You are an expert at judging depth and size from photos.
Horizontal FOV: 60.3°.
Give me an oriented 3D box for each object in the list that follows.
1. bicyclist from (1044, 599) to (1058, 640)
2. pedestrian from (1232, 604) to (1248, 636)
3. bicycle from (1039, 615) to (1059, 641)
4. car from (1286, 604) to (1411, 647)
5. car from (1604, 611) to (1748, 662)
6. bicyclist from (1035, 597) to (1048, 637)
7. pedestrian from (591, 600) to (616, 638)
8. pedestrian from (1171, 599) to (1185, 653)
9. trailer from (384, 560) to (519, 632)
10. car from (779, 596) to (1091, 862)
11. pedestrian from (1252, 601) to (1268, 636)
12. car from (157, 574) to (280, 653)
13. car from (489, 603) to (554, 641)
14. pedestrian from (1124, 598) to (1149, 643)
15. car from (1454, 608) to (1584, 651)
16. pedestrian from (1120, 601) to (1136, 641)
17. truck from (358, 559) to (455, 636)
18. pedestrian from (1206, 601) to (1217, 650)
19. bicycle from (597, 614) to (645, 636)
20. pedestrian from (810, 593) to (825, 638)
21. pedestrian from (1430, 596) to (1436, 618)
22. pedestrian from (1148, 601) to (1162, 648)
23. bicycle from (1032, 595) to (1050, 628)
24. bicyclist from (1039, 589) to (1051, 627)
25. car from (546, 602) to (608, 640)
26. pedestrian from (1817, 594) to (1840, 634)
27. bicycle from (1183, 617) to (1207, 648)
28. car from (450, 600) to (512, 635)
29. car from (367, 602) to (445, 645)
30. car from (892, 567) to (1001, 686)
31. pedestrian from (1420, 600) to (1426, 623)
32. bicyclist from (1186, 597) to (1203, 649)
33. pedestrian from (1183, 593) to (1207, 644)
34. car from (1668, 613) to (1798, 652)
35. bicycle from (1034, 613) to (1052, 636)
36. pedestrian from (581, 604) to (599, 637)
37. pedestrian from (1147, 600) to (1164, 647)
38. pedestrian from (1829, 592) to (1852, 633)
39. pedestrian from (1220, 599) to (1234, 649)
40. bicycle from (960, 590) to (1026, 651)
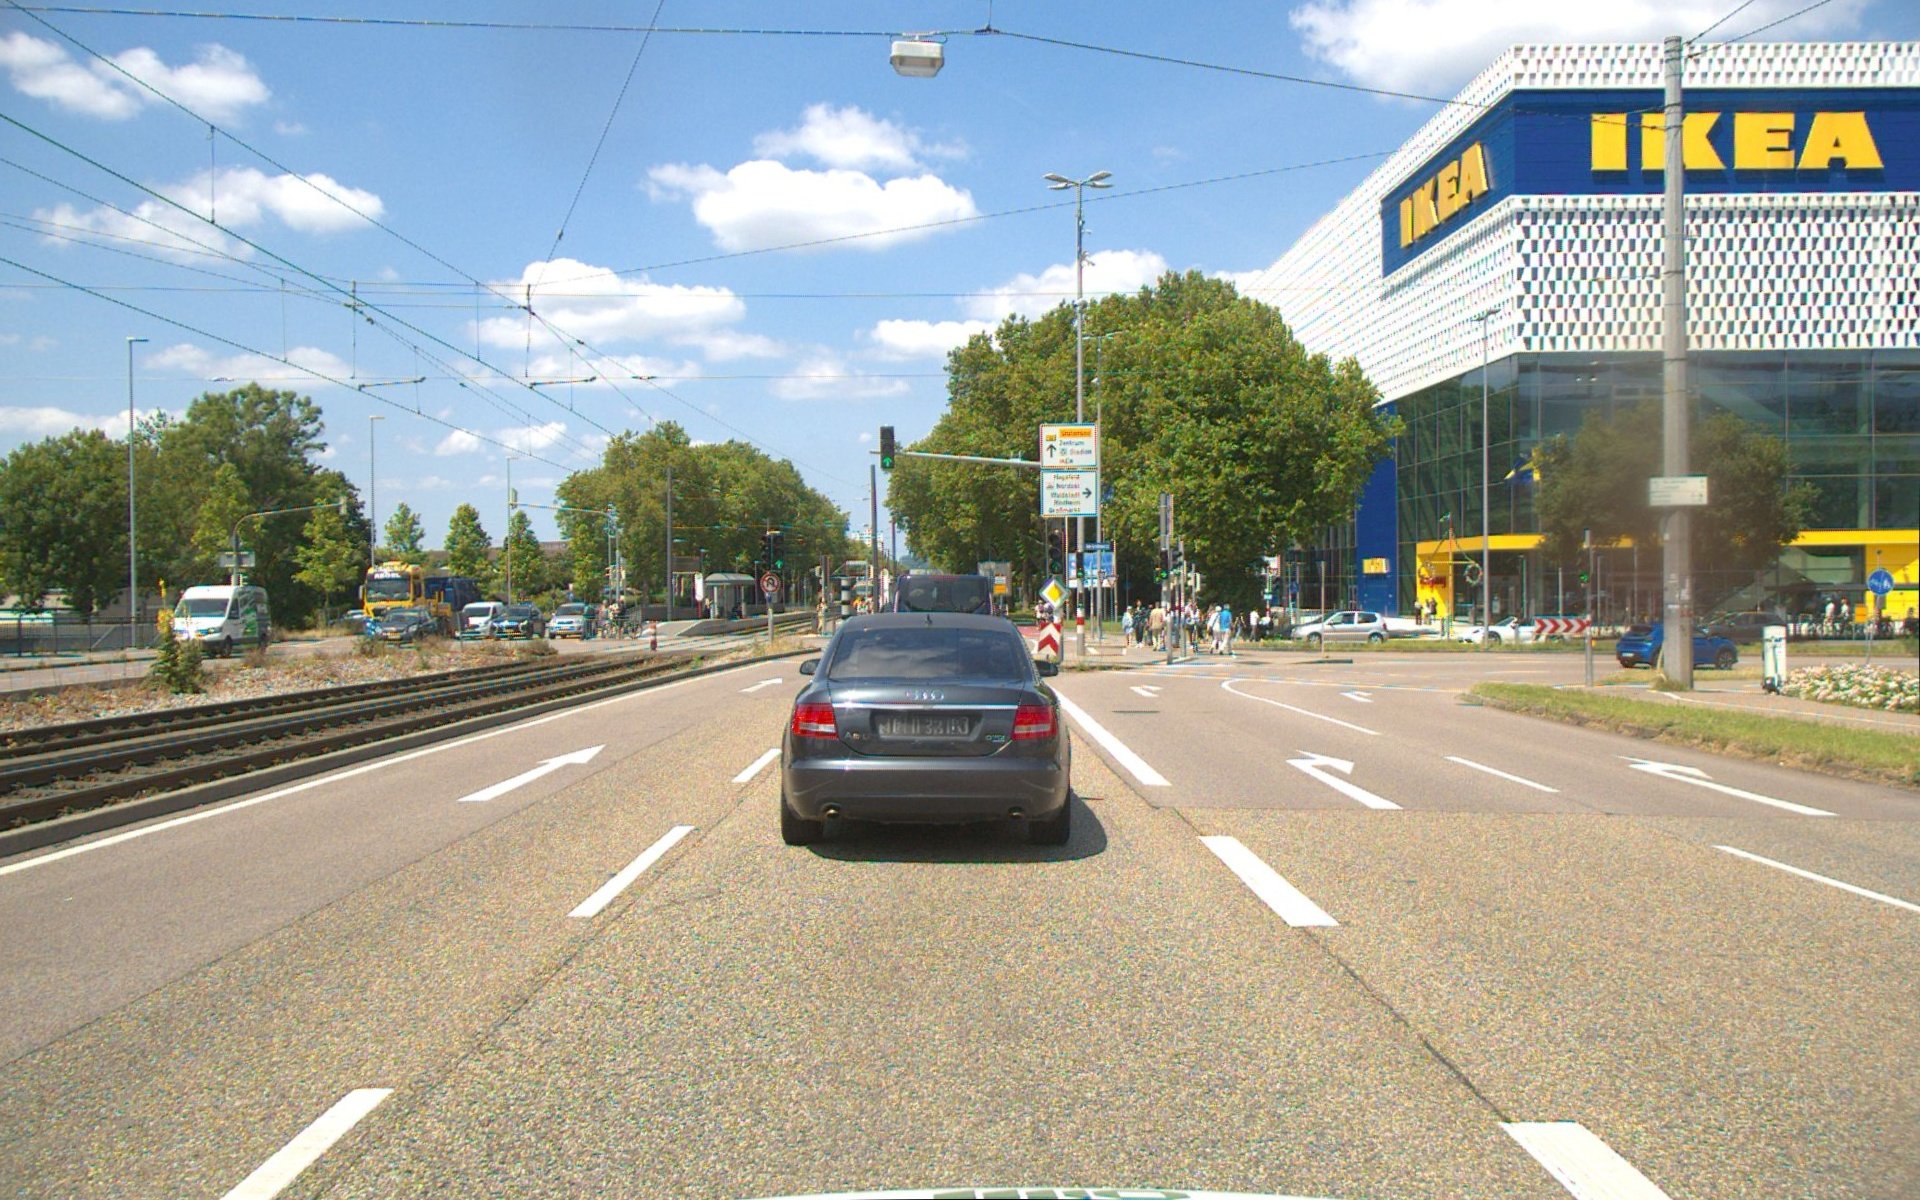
[{"bbox_3d":[3.843,0.824,70.064,0.518,1.705,1.088,0,-1,-1],"label":"bicyclist"},{"bbox_3d":[13.603,0.971,80.379,0.690,1.571,0.678,1,0,18],"label":"pedestrian"},{"bbox_3d":[3.763,1.172,70.074,0.673,1.023,2.751,1,0,0],"label":"bicycle"},{"bbox_3d":[15.069,0.970,64.290,4.403,1.512,2.001,2,0,3],"label":"car"},{"bbox_3d":[23.038,1.172,53.270,3.917,1.480,1.838,2,0,-12],"label":"car"},{"bbox_3d":[3.752,0.789,76.323,0.518,1.820,1.088,0,-1,0],"label":"bicyclist"},{"bbox_3d":[-16.315,0.873,75.790,0.806,1.750,0.775,0,-1,21],"label":"pedestrian"},{"bbox_3d":[6.792,0.817,51.524,0.373,1.664,0.377,1,0,2],"label":"pedestrian"},{"bbox_3d":[-27.635,-0.177,90.890,2.711,3.580,15.874,1,0,-1],"label":"trailer"},{"bbox_3d":[-0.159,0.722,11.309,1.756,1.480,3.999,0,0,-1],"label":"car"},{"bbox_3d":[14.538,0.885,80.073,0.690,1.664,0.612,1,0,18],"label":"pedestrian"},{"bbox_3d":[-26.885,0.441,60.233,2.200,2.634,6.225,-2,1,-7],"label":"car"},{"bbox_3d":[-21.159,1.034,79.910,1.784,1.699,4.462,1,0,2],"label":"car"},{"bbox_3d":[6.526,0.755,61.117,0.699,1.664,0.706,0,0,25],"label":"pedestrian"},{"bbox_3d":[21.721,1.137,64.389,4.403,1.512,2.001,2,0,3],"label":"car"},{"bbox_3d":[6.491,0.809,63.978,0.483,1.546,0.707,1,0,17],"label":"pedestrian"},{"bbox_3d":[-27.502,-0.113,82.516,2.711,3.631,6.438,1,0,-1],"label":"truck"},{"bbox_3d":[8.565,0.871,56.372,0.314,1.664,0.377,1,0,2],"label":"pedestrian"},{"bbox_3d":[-14.774,1.096,72.154,2.019,0.941,0.751,1,0,-11],"label":"bicycle"},{"bbox_3d":[-6.546,0.713,75.838,0.672,2.049,0.572,0,-1,-5],"label":"pedestrian"},{"bbox_3d":[28.962,0.421,101.255,0.283,1.366,0.266,0,-1,-1],"label":"pedestrian"},{"bbox_3d":[6.885,0.873,58.495,0.435,1.664,0.430,1,0,2],"label":"pedestrian"},{"bbox_3d":[3.884,0.538,79.620,0.673,1.545,2.751,1,0,0],"label":"bicycle"},{"bbox_3d":[4.087,0.393,79.261,0.518,1.820,1.088,0,-1,-1],"label":"bicyclist"},{"bbox_3d":[-18.448,0.992,79.881,1.784,1.699,4.462,1,0,2],"label":"car"},{"bbox_3d":[44.366,0.707,84.490,0.696,2.049,0.824,1,0,1],"label":"pedestrian"},{"bbox_3d":[8.245,1.139,57.985,0.645,1.040,1.863,1,0,13],"label":"bicycle"},{"bbox_3d":[-24.325,0.864,84.094,1.785,1.699,4.461,1,0,1],"label":"car"},{"bbox_3d":[-23.184,0.947,69.409,1.785,1.699,4.460,1,0,-1],"label":"car"},{"bbox_3d":[-0.257,0.453,29.542,1.799,1.984,3.999,0,0,-1],"label":"car"},{"bbox_3d":[28.320,0.714,101.228,0.283,1.366,0.266,0,-1,-1],"label":"pedestrian"},{"bbox_3d":[8.219,0.807,57.874,0.517,1.795,0.828,0,-1,13],"label":"bicyclist"},{"bbox_3d":[8.652,0.678,60.818,0.671,1.878,0.706,0,0,25],"label":"pedestrian"},{"bbox_3d":[31.696,1.303,67.884,4.403,1.512,2.001,1,0,3],"label":"car"},{"bbox_3d":[3.802,1.117,75.652,0.673,1.011,2.751,1,0,0],"label":"bicycle"},{"bbox_3d":[-16.326,0.908,72.978,0.671,1.469,0.572,0,-1,-4],"label":"pedestrian"},{"bbox_3d":[6.912,0.828,58.474,0.542,1.664,0.433,1,0,2],"label":"pedestrian"},{"bbox_3d":[44.448,0.644,83.520,0.696,2.049,0.824,1,0,1],"label":"pedestrian"},{"bbox_3d":[9.035,0.805,56.005,0.389,1.664,0.371,1,0,2],"label":"pedestrian"},{"bbox_3d":[1.178,0.694,57.686,1.951,2.049,4.003,1,0,6],"label":"bicycle"}]
